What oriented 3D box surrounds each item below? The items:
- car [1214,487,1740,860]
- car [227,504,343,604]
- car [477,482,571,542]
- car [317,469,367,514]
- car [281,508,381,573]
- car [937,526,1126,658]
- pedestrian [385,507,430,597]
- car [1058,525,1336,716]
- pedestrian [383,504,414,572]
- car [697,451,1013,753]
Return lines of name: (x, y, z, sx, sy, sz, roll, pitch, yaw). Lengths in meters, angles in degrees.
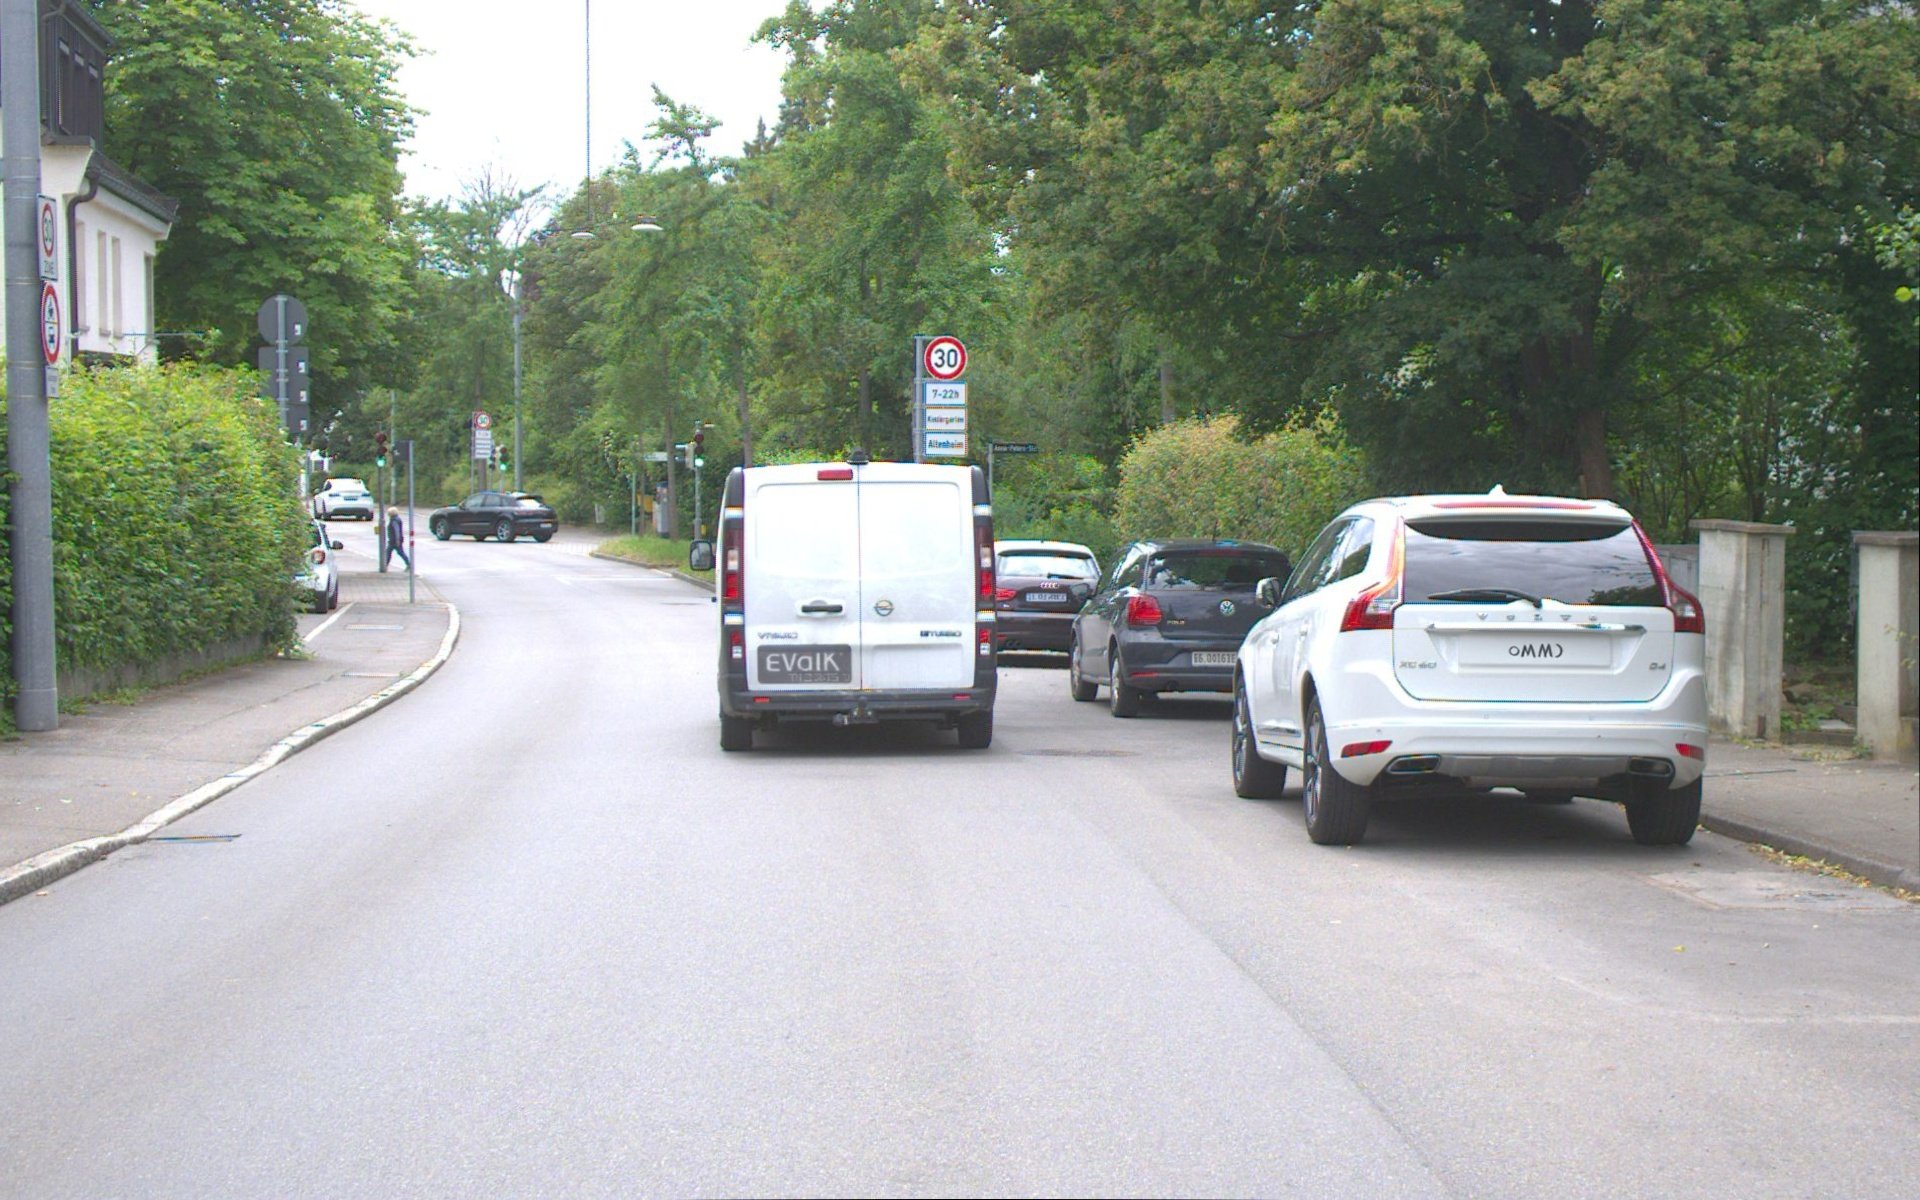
car: (2.498, 0.285, 17.709, 1.865, 1.679, 4.351, 0, 1, -2)
car: (-11.102, -0.774, 56.674, 1.588, 1.533, 2.924, 2, 2, -6)
car: (-14.026, -2.833, 110.495, 1.896, 1.853, 4.405, 0, 2, -23)
car: (-24.352, -4.291, 135.558, 1.824, 1.722, 4.001, 0, 2, -9)
car: (-14.870, -1.429, 81.452, 1.779, 1.436, 4.526, 2, 1, -4)
car: (0.780, -0.127, 39.949, 1.709, 1.408, 3.791, 2, 1, -6)
pedestrian: (-9.982, -0.871, 62.084, 0.706, 1.604, 0.576, -1, 1, -2)
car: (1.910, 0.122, 28.772, 1.709, 1.482, 3.791, 0, 1, -6)
pedestrian: (-13.467, -1.498, 82.497, 0.697, 1.610, 0.715, 0, 3, -7)
car: (-0.850, -0.065, 24.555, 1.929, 1.957, 4.403, 0, 2, -6)
